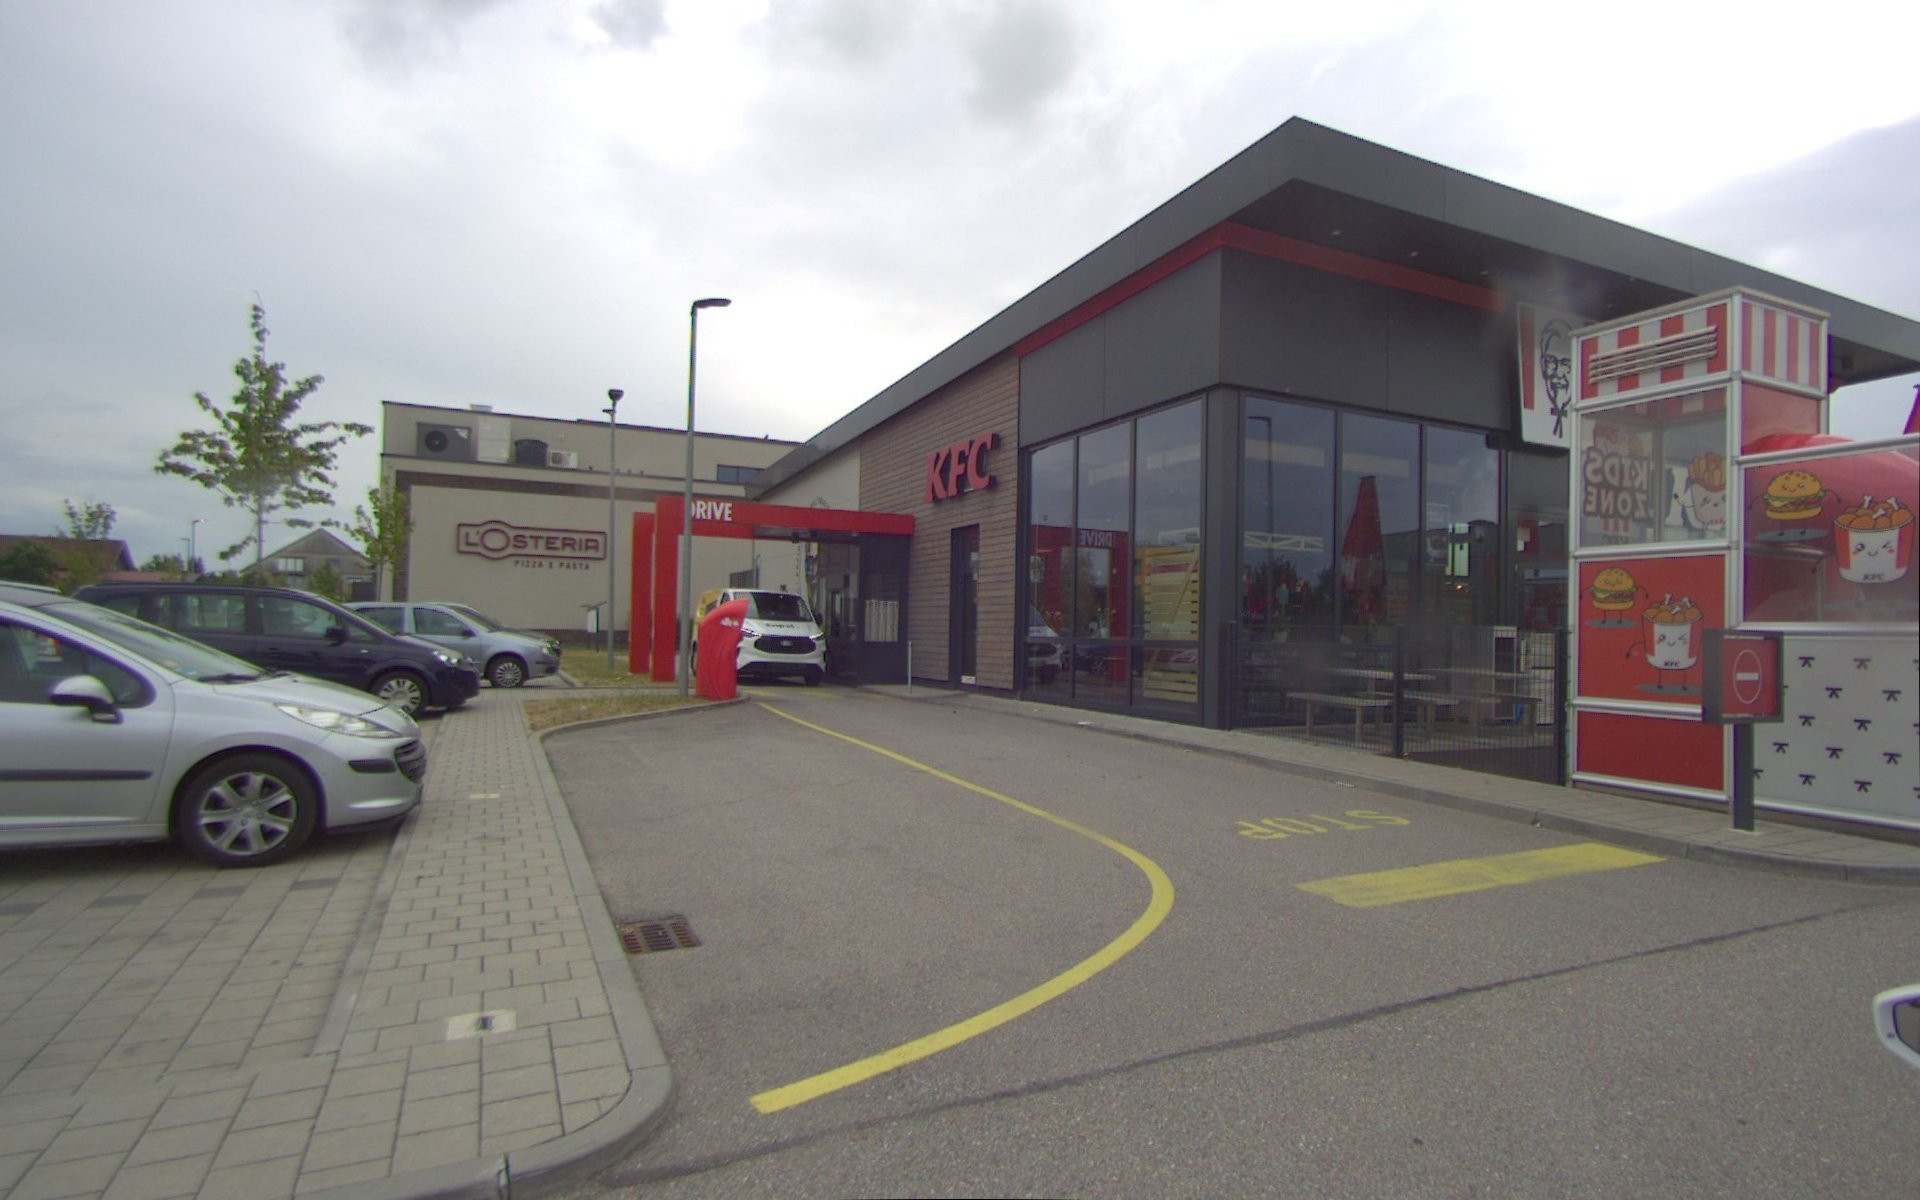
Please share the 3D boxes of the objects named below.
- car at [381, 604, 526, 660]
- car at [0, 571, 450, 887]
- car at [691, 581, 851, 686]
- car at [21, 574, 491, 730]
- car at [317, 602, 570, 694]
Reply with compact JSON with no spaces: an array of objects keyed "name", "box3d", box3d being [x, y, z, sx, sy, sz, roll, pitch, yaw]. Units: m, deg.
[{"name":"car","box3d":[-15.176,0.923,30.245,3.793,1.595,1.814,0,-1,-26]},{"name":"car","box3d":[-5.127,0.631,5.506,4.115,1.525,1.618,1,-1,-27]},{"name":"car","box3d":[-4.216,0.711,21.621,2.249,1.957,5.093,2,-2,-24]},{"name":"car","box3d":[-8.207,0.609,12.260,4.428,1.638,1.574,1,-1,-27]},{"name":"car","box3d":[-8.516,0.755,16.852,3.631,1.413,1.424,0,-1,-24]}]
